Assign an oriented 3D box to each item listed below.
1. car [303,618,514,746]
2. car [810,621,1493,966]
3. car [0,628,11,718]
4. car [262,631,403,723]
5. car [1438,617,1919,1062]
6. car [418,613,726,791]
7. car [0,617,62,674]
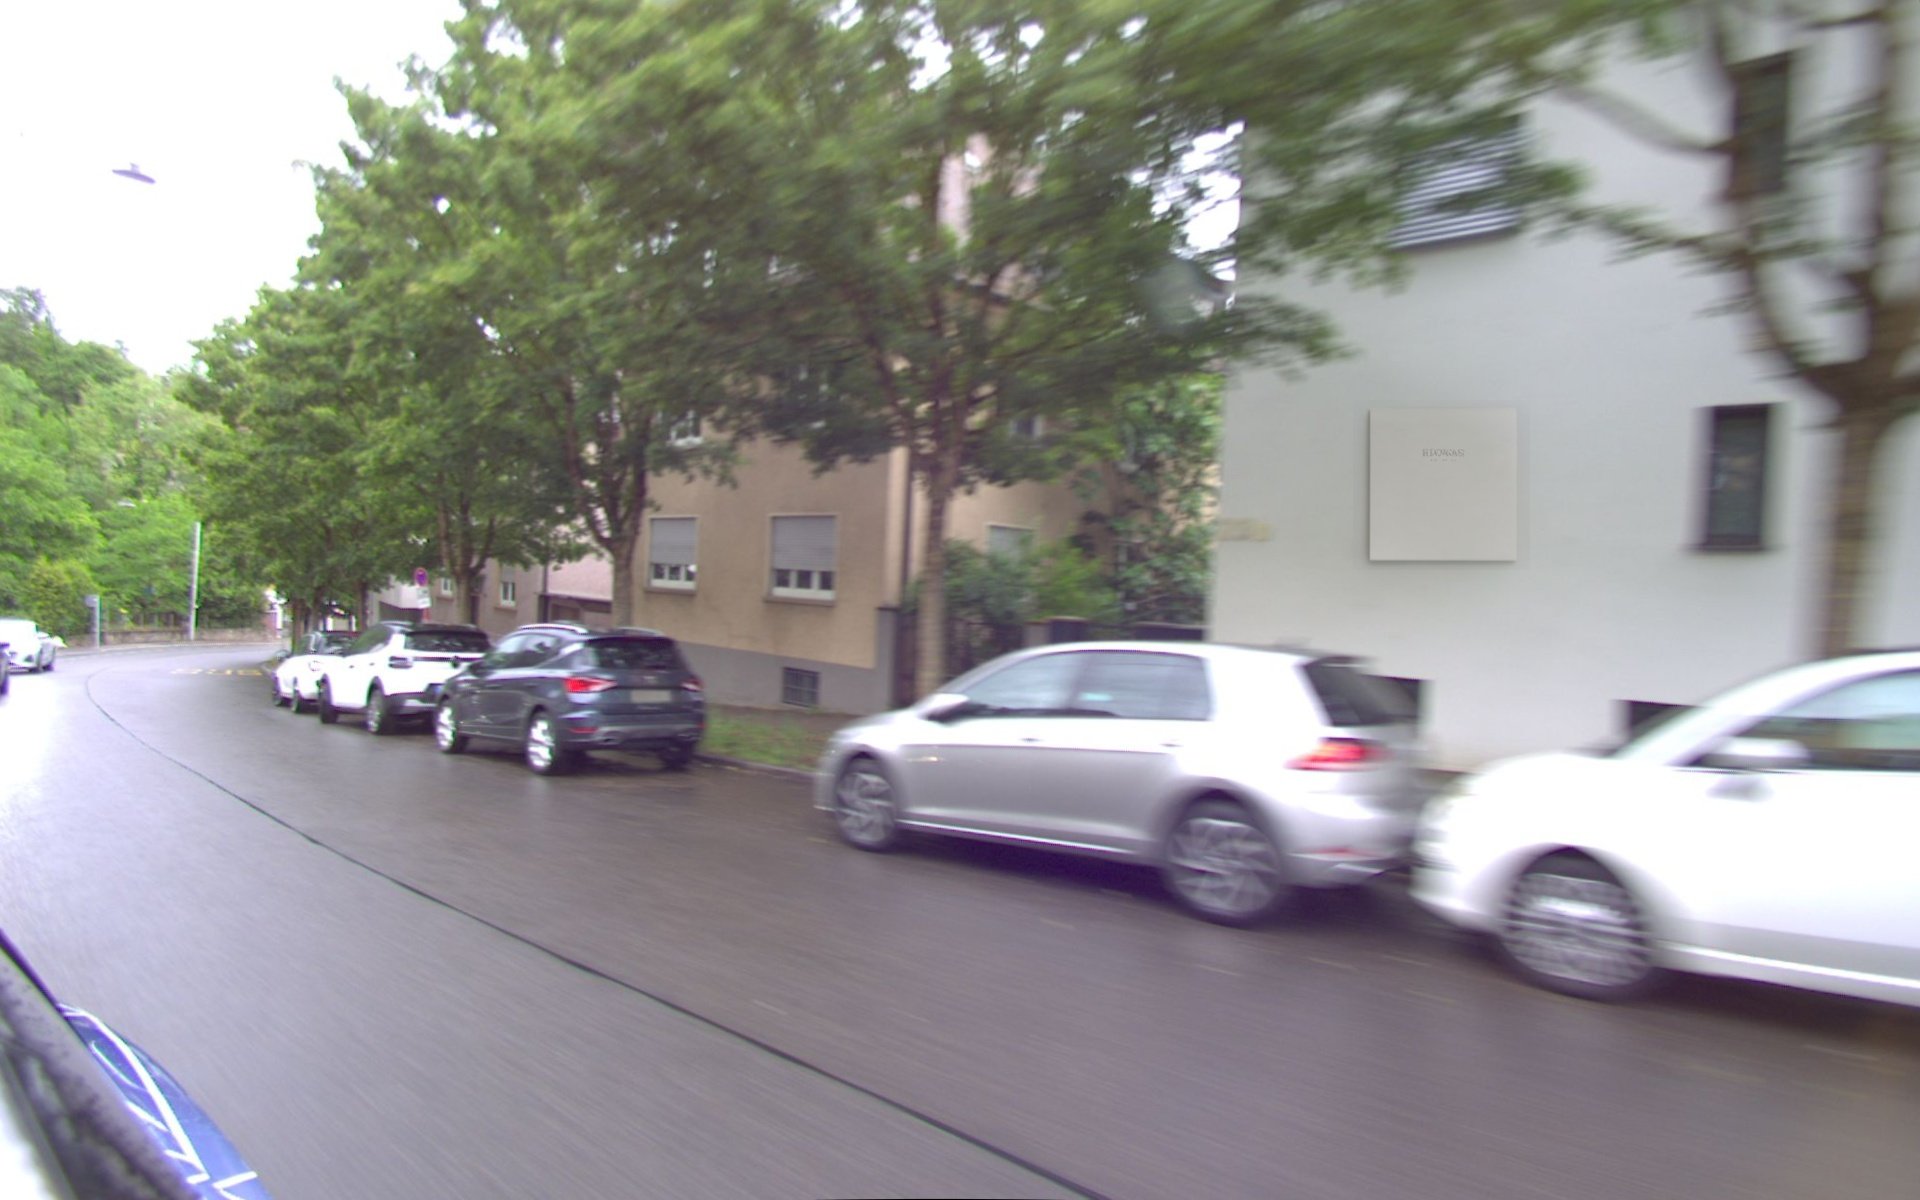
[{"bbox_3d":[-8.482,1.196,15.425,3.924,1.671,1.574,-1,-7,44],"label":"car"},{"bbox_3d":[0.992,0.945,6.422,3.970,1.481,1.601,0,-5,41],"label":"car"},{"bbox_3d":[-17.927,1.216,17.646,4.018,1.500,1.782,-2,-4,44],"label":"car"},{"bbox_3d":[-11.836,1.397,18.994,1.598,1.482,3.674,8,-7,-40],"label":"car"},{"bbox_3d":[3.924,0.865,3.903,3.469,1.500,1.557,-2,-6,42],"label":"car"},{"bbox_3d":[-4.523,1.055,11.518,3.924,1.671,1.600,-1,-6,43],"label":"car"},{"bbox_3d":[-29.475,1.387,31.200,1.980,1.674,4.457,3,-3,-33],"label":"car"}]
